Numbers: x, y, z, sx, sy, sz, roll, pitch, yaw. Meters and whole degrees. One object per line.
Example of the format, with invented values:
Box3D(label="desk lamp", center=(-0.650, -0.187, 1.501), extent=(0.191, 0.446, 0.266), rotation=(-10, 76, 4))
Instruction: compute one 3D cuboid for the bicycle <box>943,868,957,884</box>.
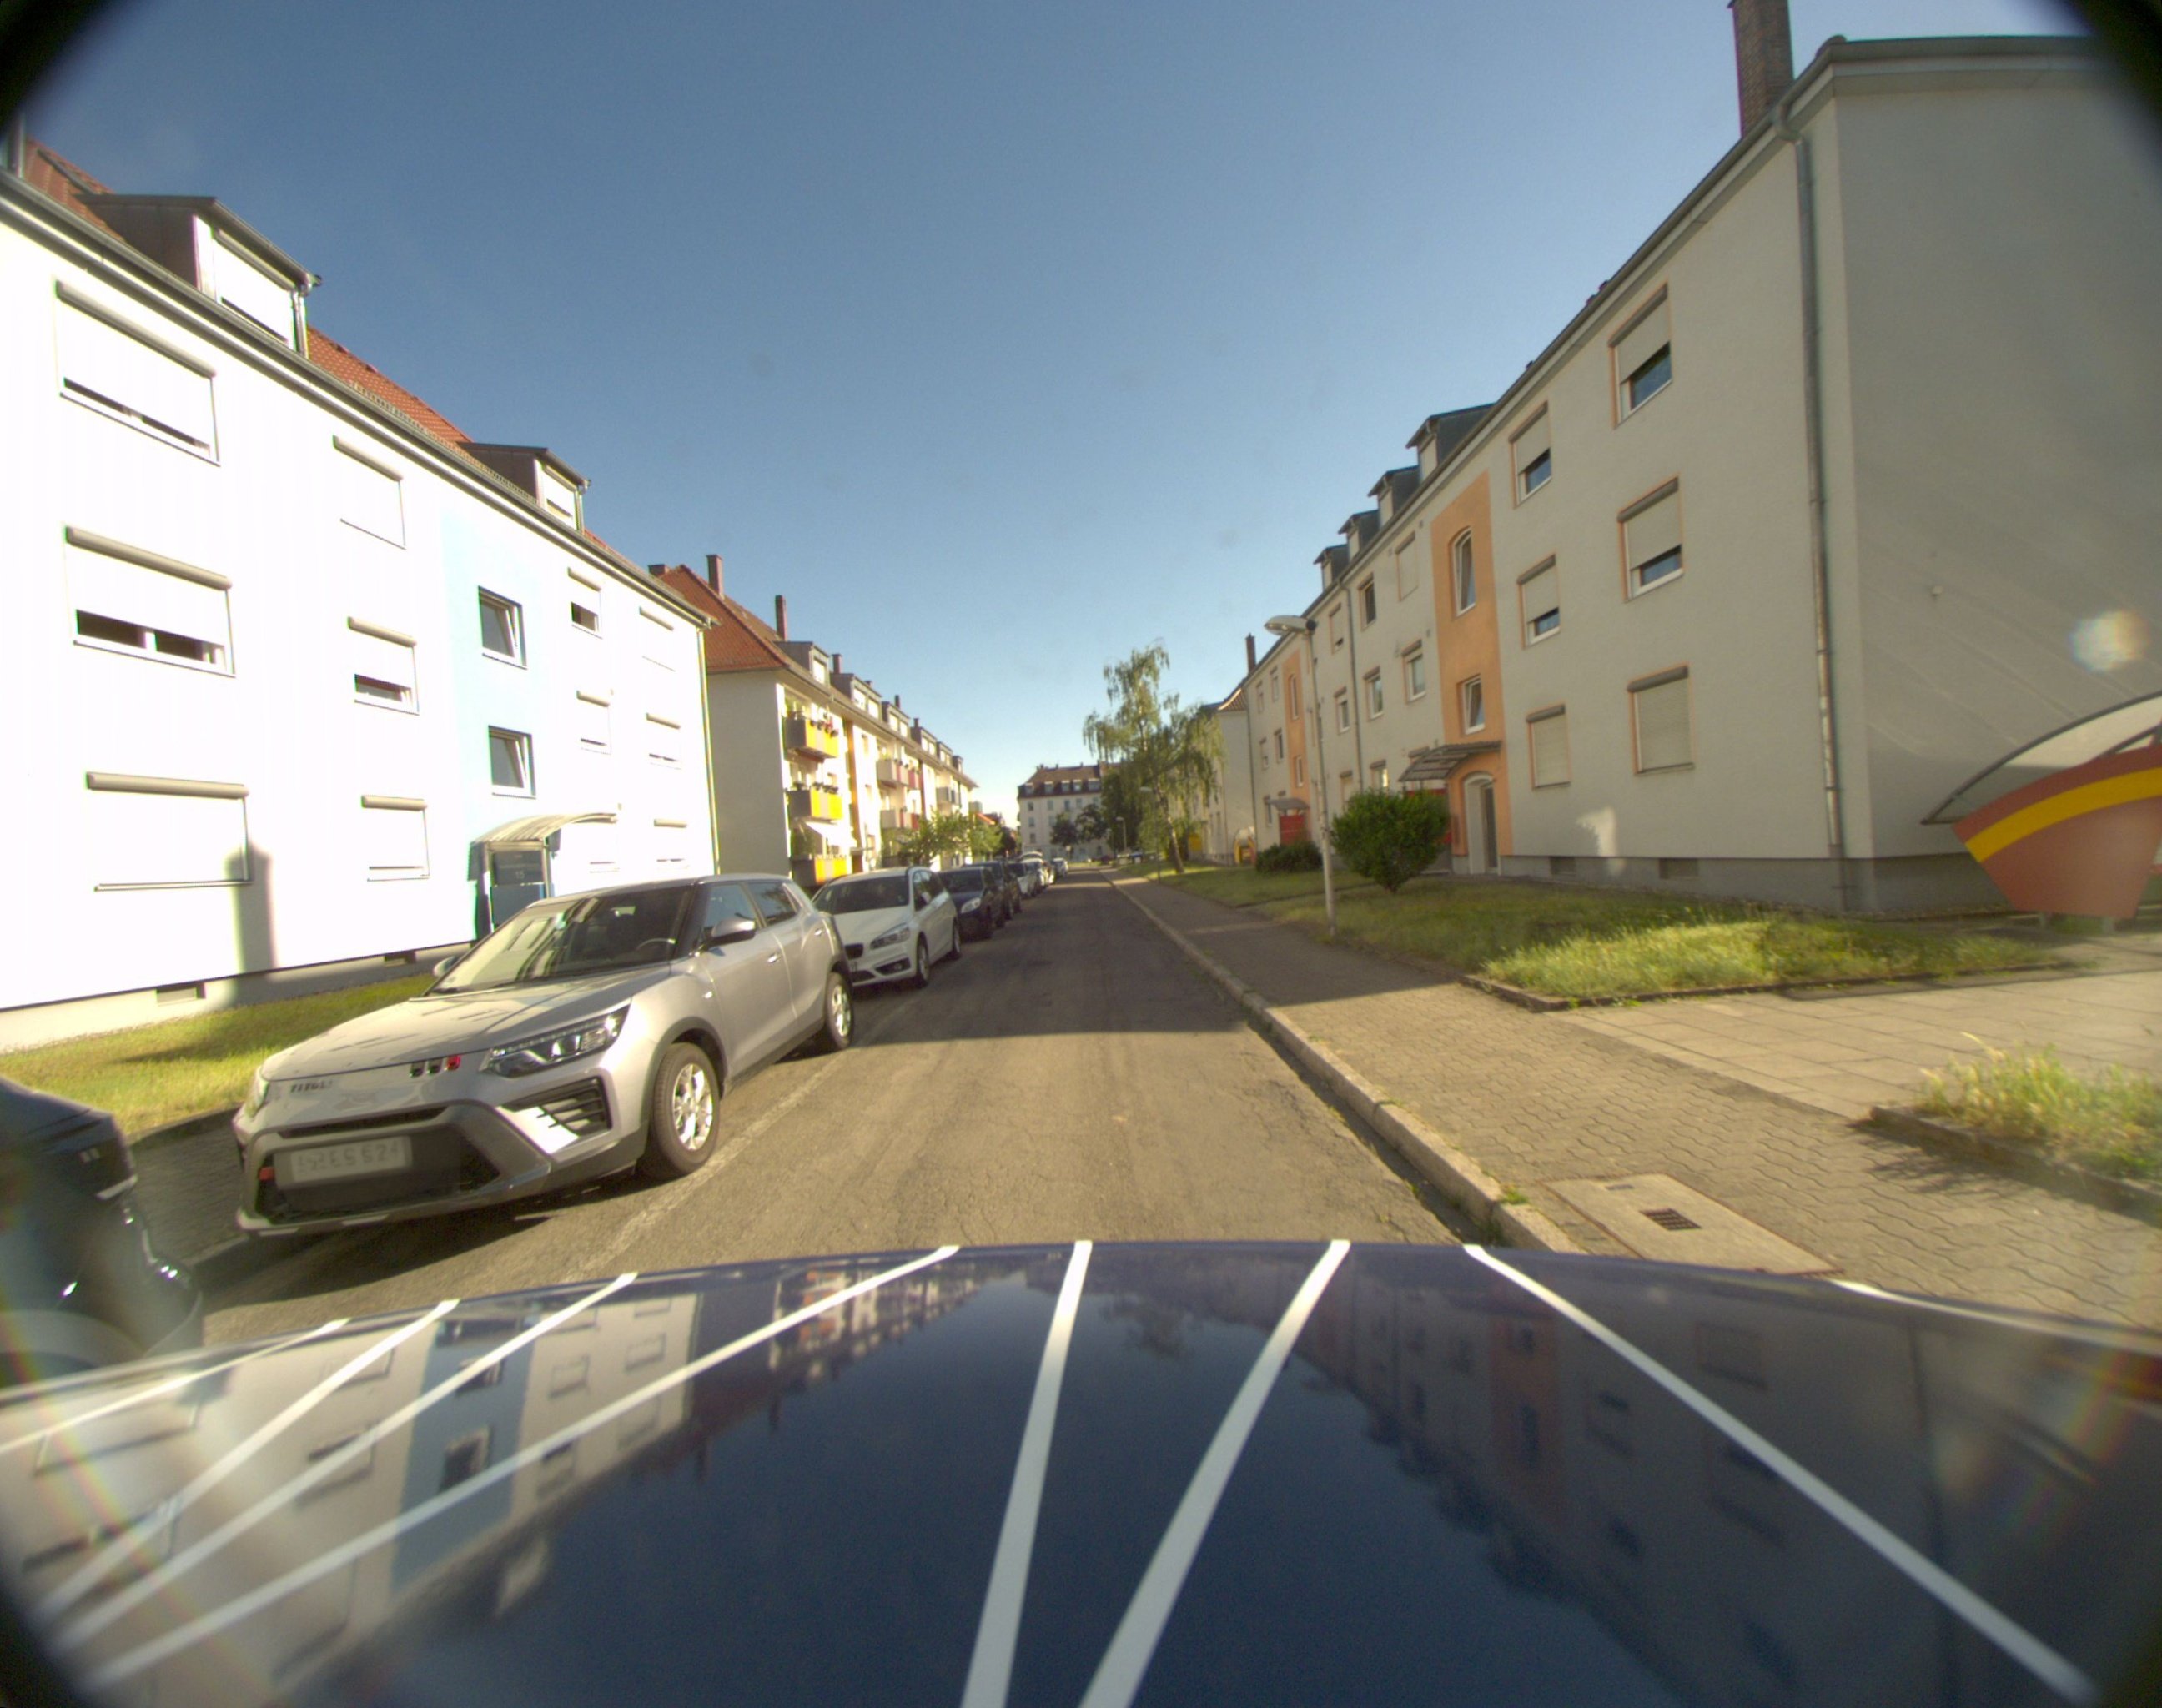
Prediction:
Box3D(label="bicycle", center=(-9.297, 1.521, 53.887), extent=(0.521, 1.042, 2.288), rotation=(-2, 0, 1))

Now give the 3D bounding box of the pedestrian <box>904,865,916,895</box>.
Box3D(label="pedestrian", center=(-8.909, 1.358, 39.596), extent=(0.451, 1.486, 0.360), rotation=(-3, 2, 1))

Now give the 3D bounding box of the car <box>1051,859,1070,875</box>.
Box3D(label="car", center=(-2.070, 1.270, 77.629), extent=(1.695, 1.410, 4.097), rotation=(-6, 0, 0))

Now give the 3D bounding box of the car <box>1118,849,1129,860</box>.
Box3D(label="car", center=(6.599, 0.111, 117.512), extent=(1.678, 1.645, 3.305), rotation=(-3, 0, 4))

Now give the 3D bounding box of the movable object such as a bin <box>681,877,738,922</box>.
Box3D(label="movable object such as a bin", center=(-12.747, 1.555, 26.137), extent=(1.331, 1.399, 1.106), rotation=(-2, 3, 1))

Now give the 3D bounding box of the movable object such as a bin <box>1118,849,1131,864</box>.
Box3D(label="movable object such as a bin", center=(4.831, 0.288, 84.473), extent=(1.318, 1.451, 1.198), rotation=(-7, 1, 0))

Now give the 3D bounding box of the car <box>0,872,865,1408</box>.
Box3D(label="car", center=(-2.938, 1.059, 4.915), extent=(1.755, 1.608, 4.451), rotation=(-6, 0, -2))

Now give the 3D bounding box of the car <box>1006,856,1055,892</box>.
Box3D(label="car", center=(-2.688, 1.032, 41.596), extent=(1.998, 1.603, 4.995), rotation=(-6, 0, 2))

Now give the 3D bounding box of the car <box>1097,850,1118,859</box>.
Box3D(label="car", center=(5.169, 0.105, 149.778), extent=(3.996, 1.477, 1.722), rotation=(-3, 0, 2))

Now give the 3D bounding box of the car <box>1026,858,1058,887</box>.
Box3D(label="car", center=(-2.391, 1.116, 47.599), extent=(1.777, 1.496, 4.480), rotation=(-5, 0, -1))

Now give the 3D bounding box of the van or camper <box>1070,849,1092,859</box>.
Box3D(label="van or camper", center=(-0.009, -0.027, 150.130), extent=(4.355, 1.852, 2.000), rotation=(-3, 1, -2))

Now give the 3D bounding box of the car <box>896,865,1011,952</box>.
Box3D(label="car", center=(-2.644, 1.085, 16.725), extent=(1.645, 1.490, 4.156), rotation=(-4, 0, 1))

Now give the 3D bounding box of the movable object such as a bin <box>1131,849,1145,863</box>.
Box3D(label="movable object such as a bin", center=(6.329, 0.215, 84.534), extent=(1.358, 1.451, 1.082), rotation=(-8, 1, 0))

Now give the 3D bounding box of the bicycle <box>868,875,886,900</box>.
Box3D(label="bicycle", center=(-9.814, 1.597, 36.564), extent=(0.404, 1.126, 1.273), rotation=(-4, 0, 1))

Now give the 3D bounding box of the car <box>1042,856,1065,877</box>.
Box3D(label="car", center=(-2.333, 1.043, 65.770), extent=(1.717, 1.501, 3.853), rotation=(-7, 0, 0))

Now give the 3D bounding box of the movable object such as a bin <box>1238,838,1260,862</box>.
Box3D(label="movable object such as a bin", center=(10.309, -0.237, 46.574), extent=(1.087, 1.398, 0.813), rotation=(-4, 1, 1))

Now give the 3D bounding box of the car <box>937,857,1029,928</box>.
Box3D(label="car", center=(-2.683, 1.007, 21.822), extent=(1.787, 1.638, 4.468), rotation=(-5, 0, 1))

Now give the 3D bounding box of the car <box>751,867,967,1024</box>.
Box3D(label="car", center=(-2.855, 1.080, 10.875), extent=(1.695, 1.566, 4.434), rotation=(-5, 0, -1))

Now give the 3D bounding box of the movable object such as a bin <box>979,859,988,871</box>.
Box3D(label="movable object such as a bin", center=(-11.851, 1.329, 92.094), extent=(0.866, 1.511, 0.922), rotation=(-3, 1, -1))

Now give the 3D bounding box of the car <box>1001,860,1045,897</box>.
Box3D(label="car", center=(-2.705, 1.133, 36.273), extent=(1.698, 1.482, 3.984), rotation=(-6, 0, -1))

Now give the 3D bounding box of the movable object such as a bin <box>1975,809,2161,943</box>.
Box3D(label="movable object such as a bin", center=(9.926, 0.186, 7.399), extent=(1.317, 1.161, 0.910), rotation=(-4, 0, 0))

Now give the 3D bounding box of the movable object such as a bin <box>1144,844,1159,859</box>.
Box3D(label="movable object such as a bin", center=(7.869, -0.275, 84.544), extent=(1.363, 1.445, 1.073), rotation=(-8, 1, 0))

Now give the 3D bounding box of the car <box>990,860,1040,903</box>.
Box3D(label="car", center=(-2.749, 1.111, 32.002), extent=(1.483, 1.520, 2.941), rotation=(-6, 0, 4))

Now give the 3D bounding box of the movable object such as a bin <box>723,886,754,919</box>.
Box3D(label="movable object such as a bin", center=(-11.743, 1.643, 26.049), extent=(0.644, 1.029, 0.757), rotation=(-2, 3, 1))
